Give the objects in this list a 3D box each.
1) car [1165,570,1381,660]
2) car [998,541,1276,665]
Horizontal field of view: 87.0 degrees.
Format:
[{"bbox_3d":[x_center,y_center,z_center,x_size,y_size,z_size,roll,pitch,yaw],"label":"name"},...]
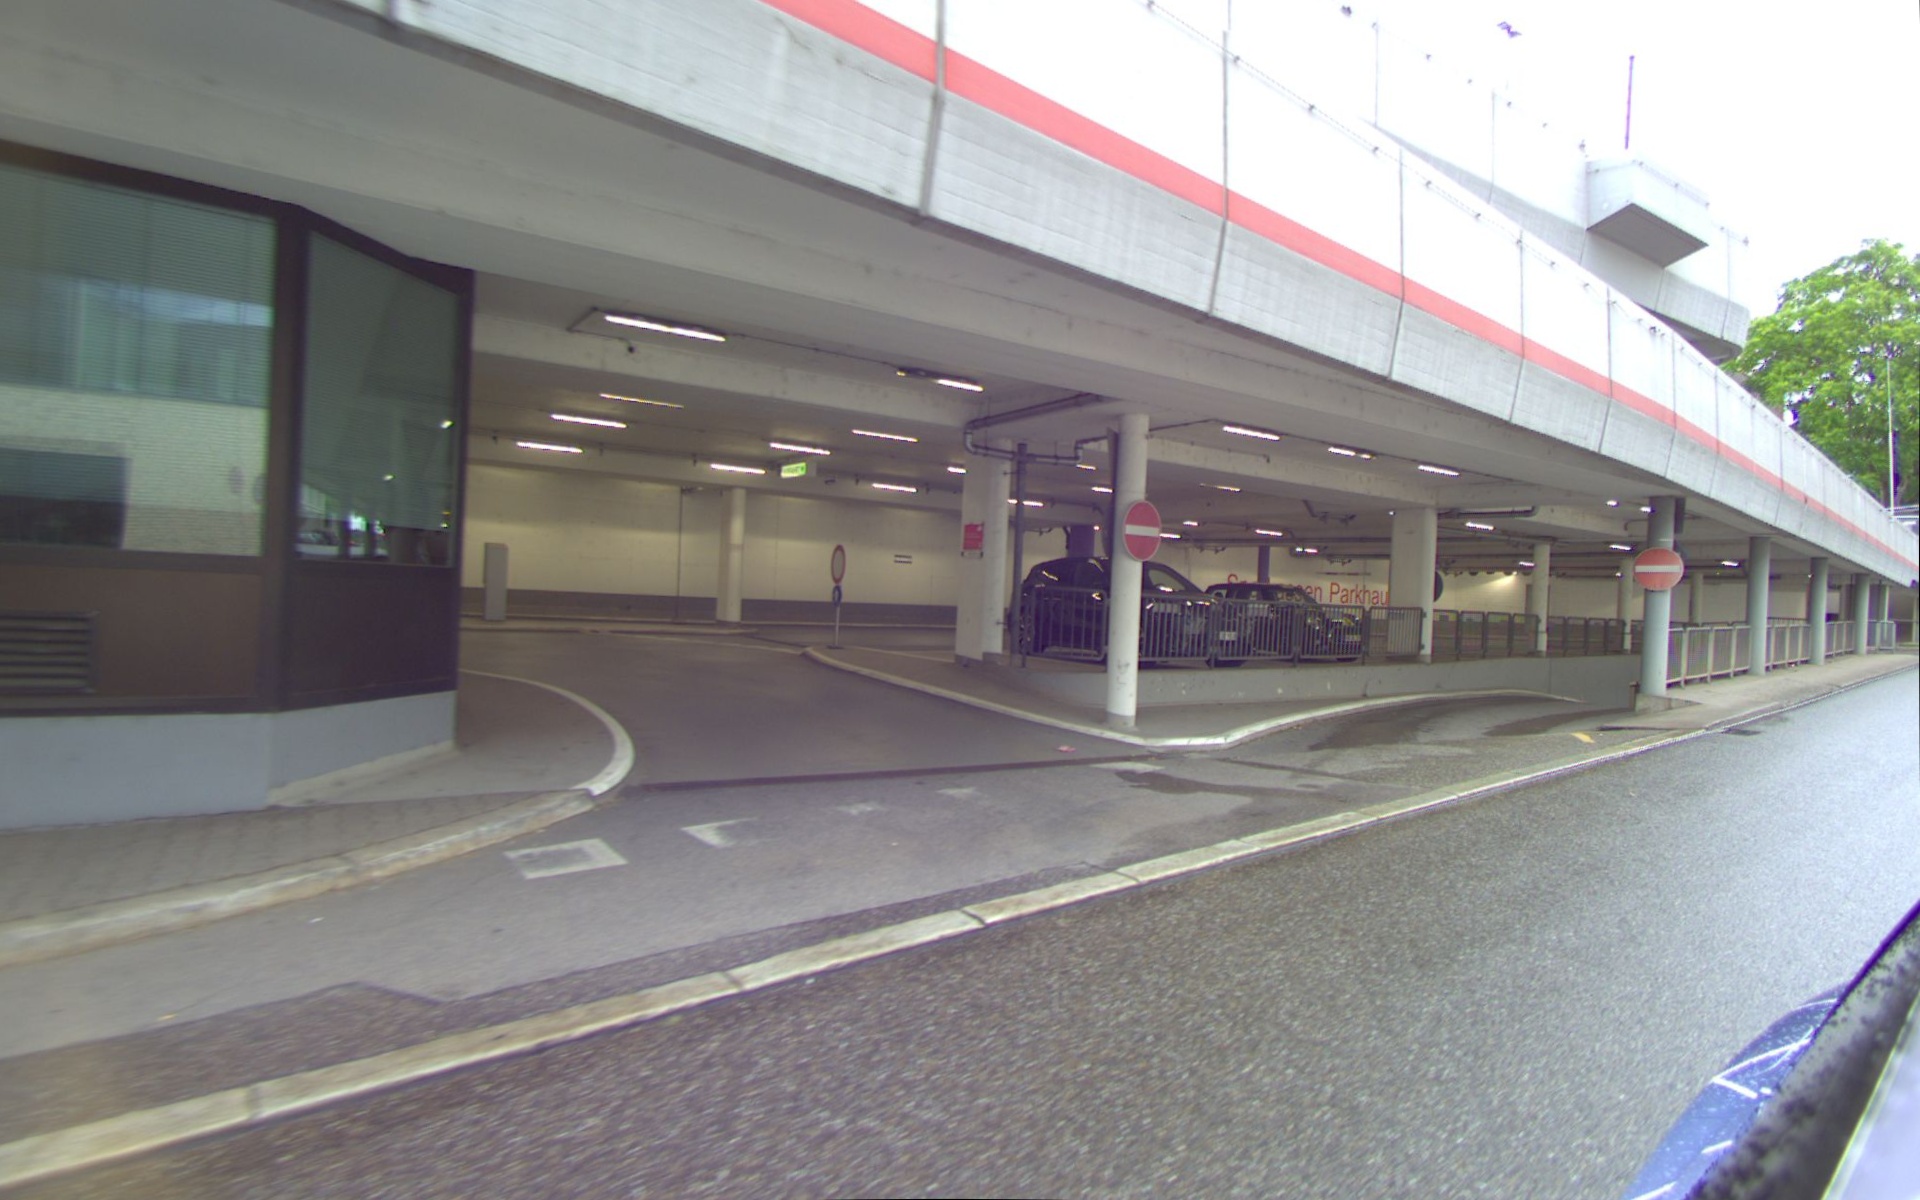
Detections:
[{"bbox_3d":[6.042,0.254,19.900,1.772,1.524,3.738,2,1,-33],"label":"car"},{"bbox_3d":[2.586,0.035,15.985,1.786,1.660,4.595,-1,0,-30],"label":"car"}]
